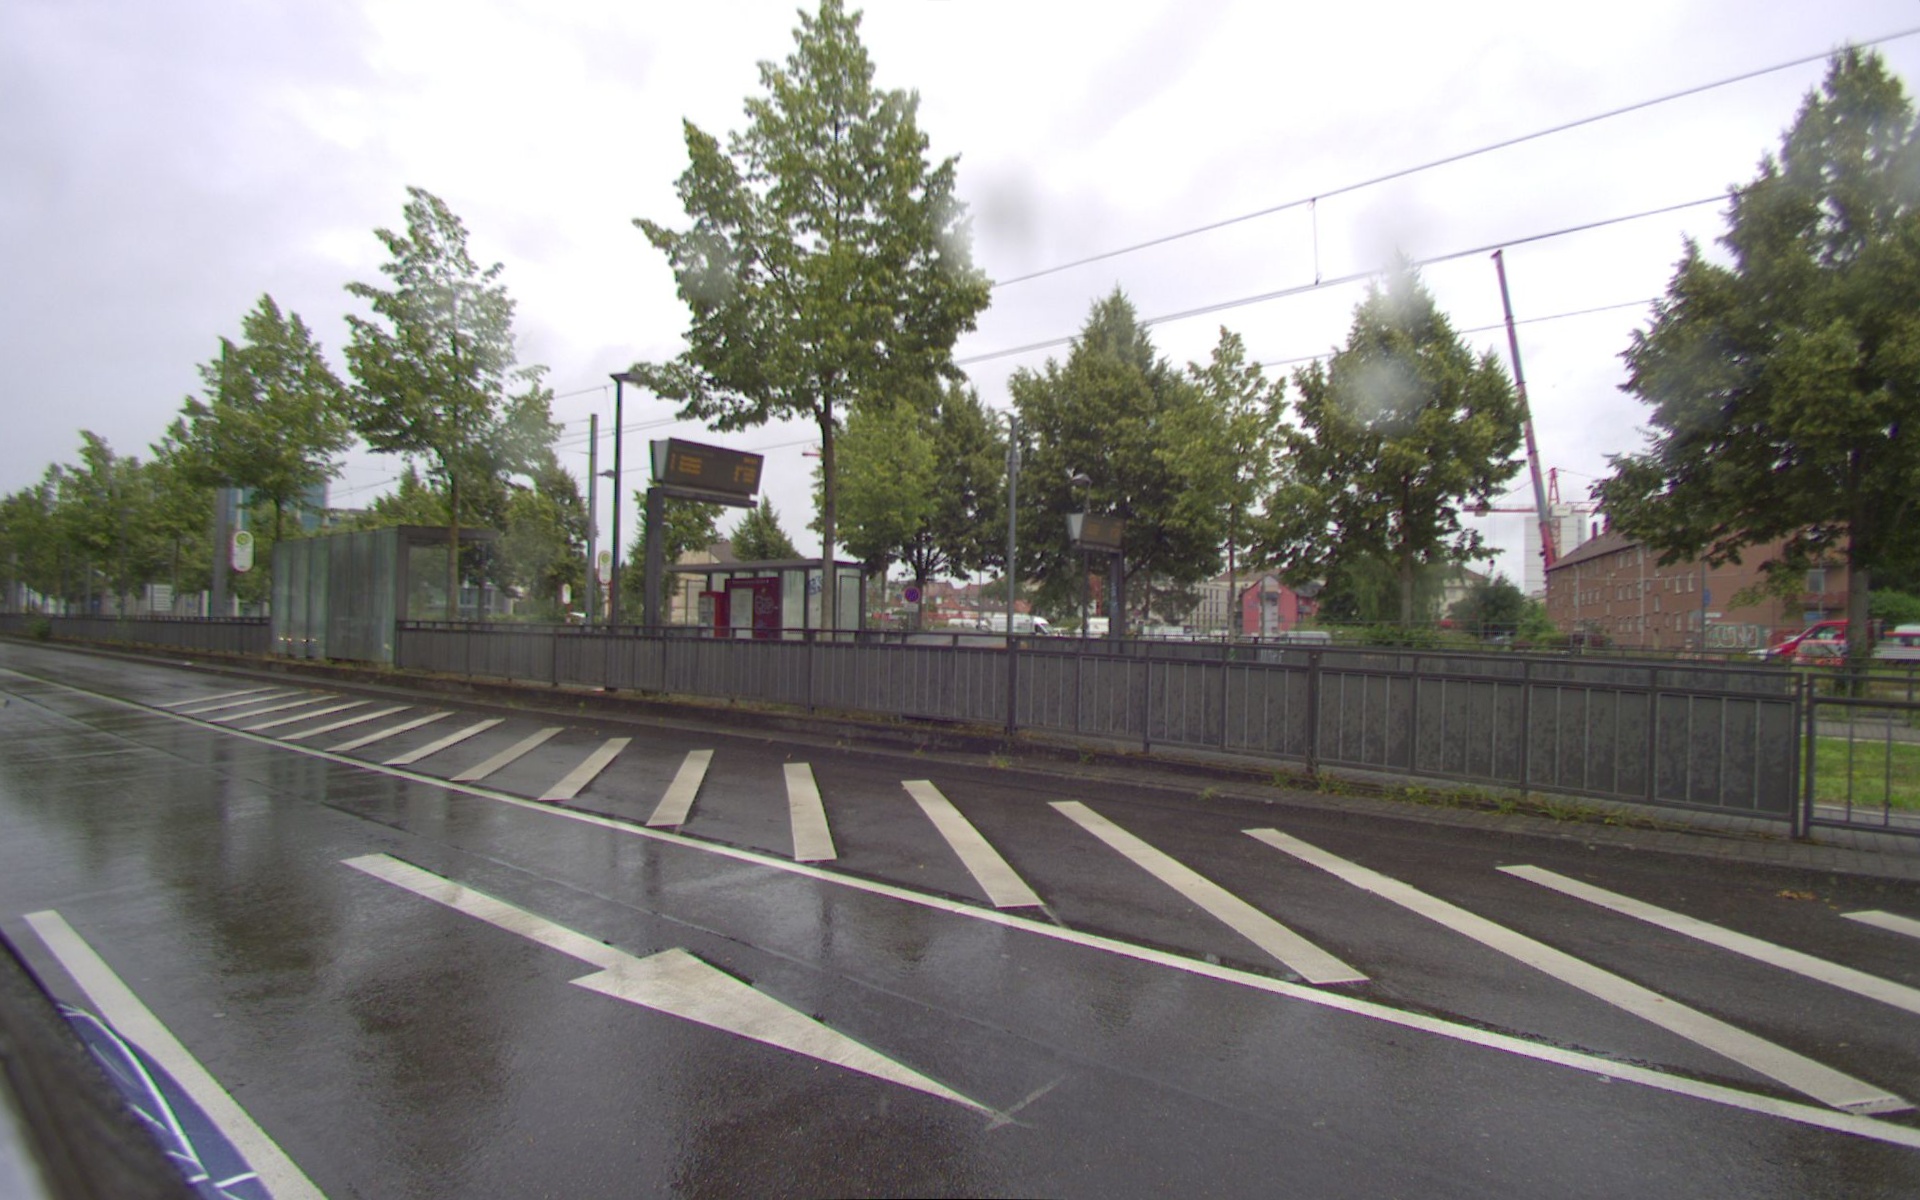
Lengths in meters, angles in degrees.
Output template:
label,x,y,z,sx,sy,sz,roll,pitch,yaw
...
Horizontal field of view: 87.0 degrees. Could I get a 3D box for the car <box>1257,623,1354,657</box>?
label,x,y,z,sx,sy,sz,roll,pitch,yaw
car,26.592,3.039,78.002,6.804,2.495,2.335,0,-2,28

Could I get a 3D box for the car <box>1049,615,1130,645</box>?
label,x,y,z,sx,sy,sz,roll,pitch,yaw
car,11.397,2.575,89.346,6.826,2.495,2.470,-1,0,38

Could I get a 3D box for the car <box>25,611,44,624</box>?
label,x,y,z,sx,sy,sz,roll,pitch,yaw
car,-152.175,2.838,166.436,3.999,2.029,1.972,-1,0,42

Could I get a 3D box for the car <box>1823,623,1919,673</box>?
label,x,y,z,sx,sy,sz,roll,pitch,yaw
car,40.133,1.981,41.814,2.319,2.029,6.440,2,-3,-38

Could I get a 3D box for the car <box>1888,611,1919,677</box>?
label,x,y,z,sx,sy,sz,roll,pitch,yaw
car,45.936,1.986,45.090,2.319,2.961,6.441,-1,0,-38

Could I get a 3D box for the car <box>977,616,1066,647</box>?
label,x,y,z,sx,sy,sz,roll,pitch,yaw
car,5.153,2.657,86.065,7.627,2.495,2.327,-1,0,38

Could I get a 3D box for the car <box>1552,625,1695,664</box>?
label,x,y,z,sx,sy,sz,roll,pitch,yaw
car,37.126,2.480,56.870,6.393,2.029,2.336,-1,0,26

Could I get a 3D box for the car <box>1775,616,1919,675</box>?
label,x,y,z,sx,sy,sz,roll,pitch,yaw
car,34.685,1.668,37.664,2.319,2.029,6.441,-1,0,-38
